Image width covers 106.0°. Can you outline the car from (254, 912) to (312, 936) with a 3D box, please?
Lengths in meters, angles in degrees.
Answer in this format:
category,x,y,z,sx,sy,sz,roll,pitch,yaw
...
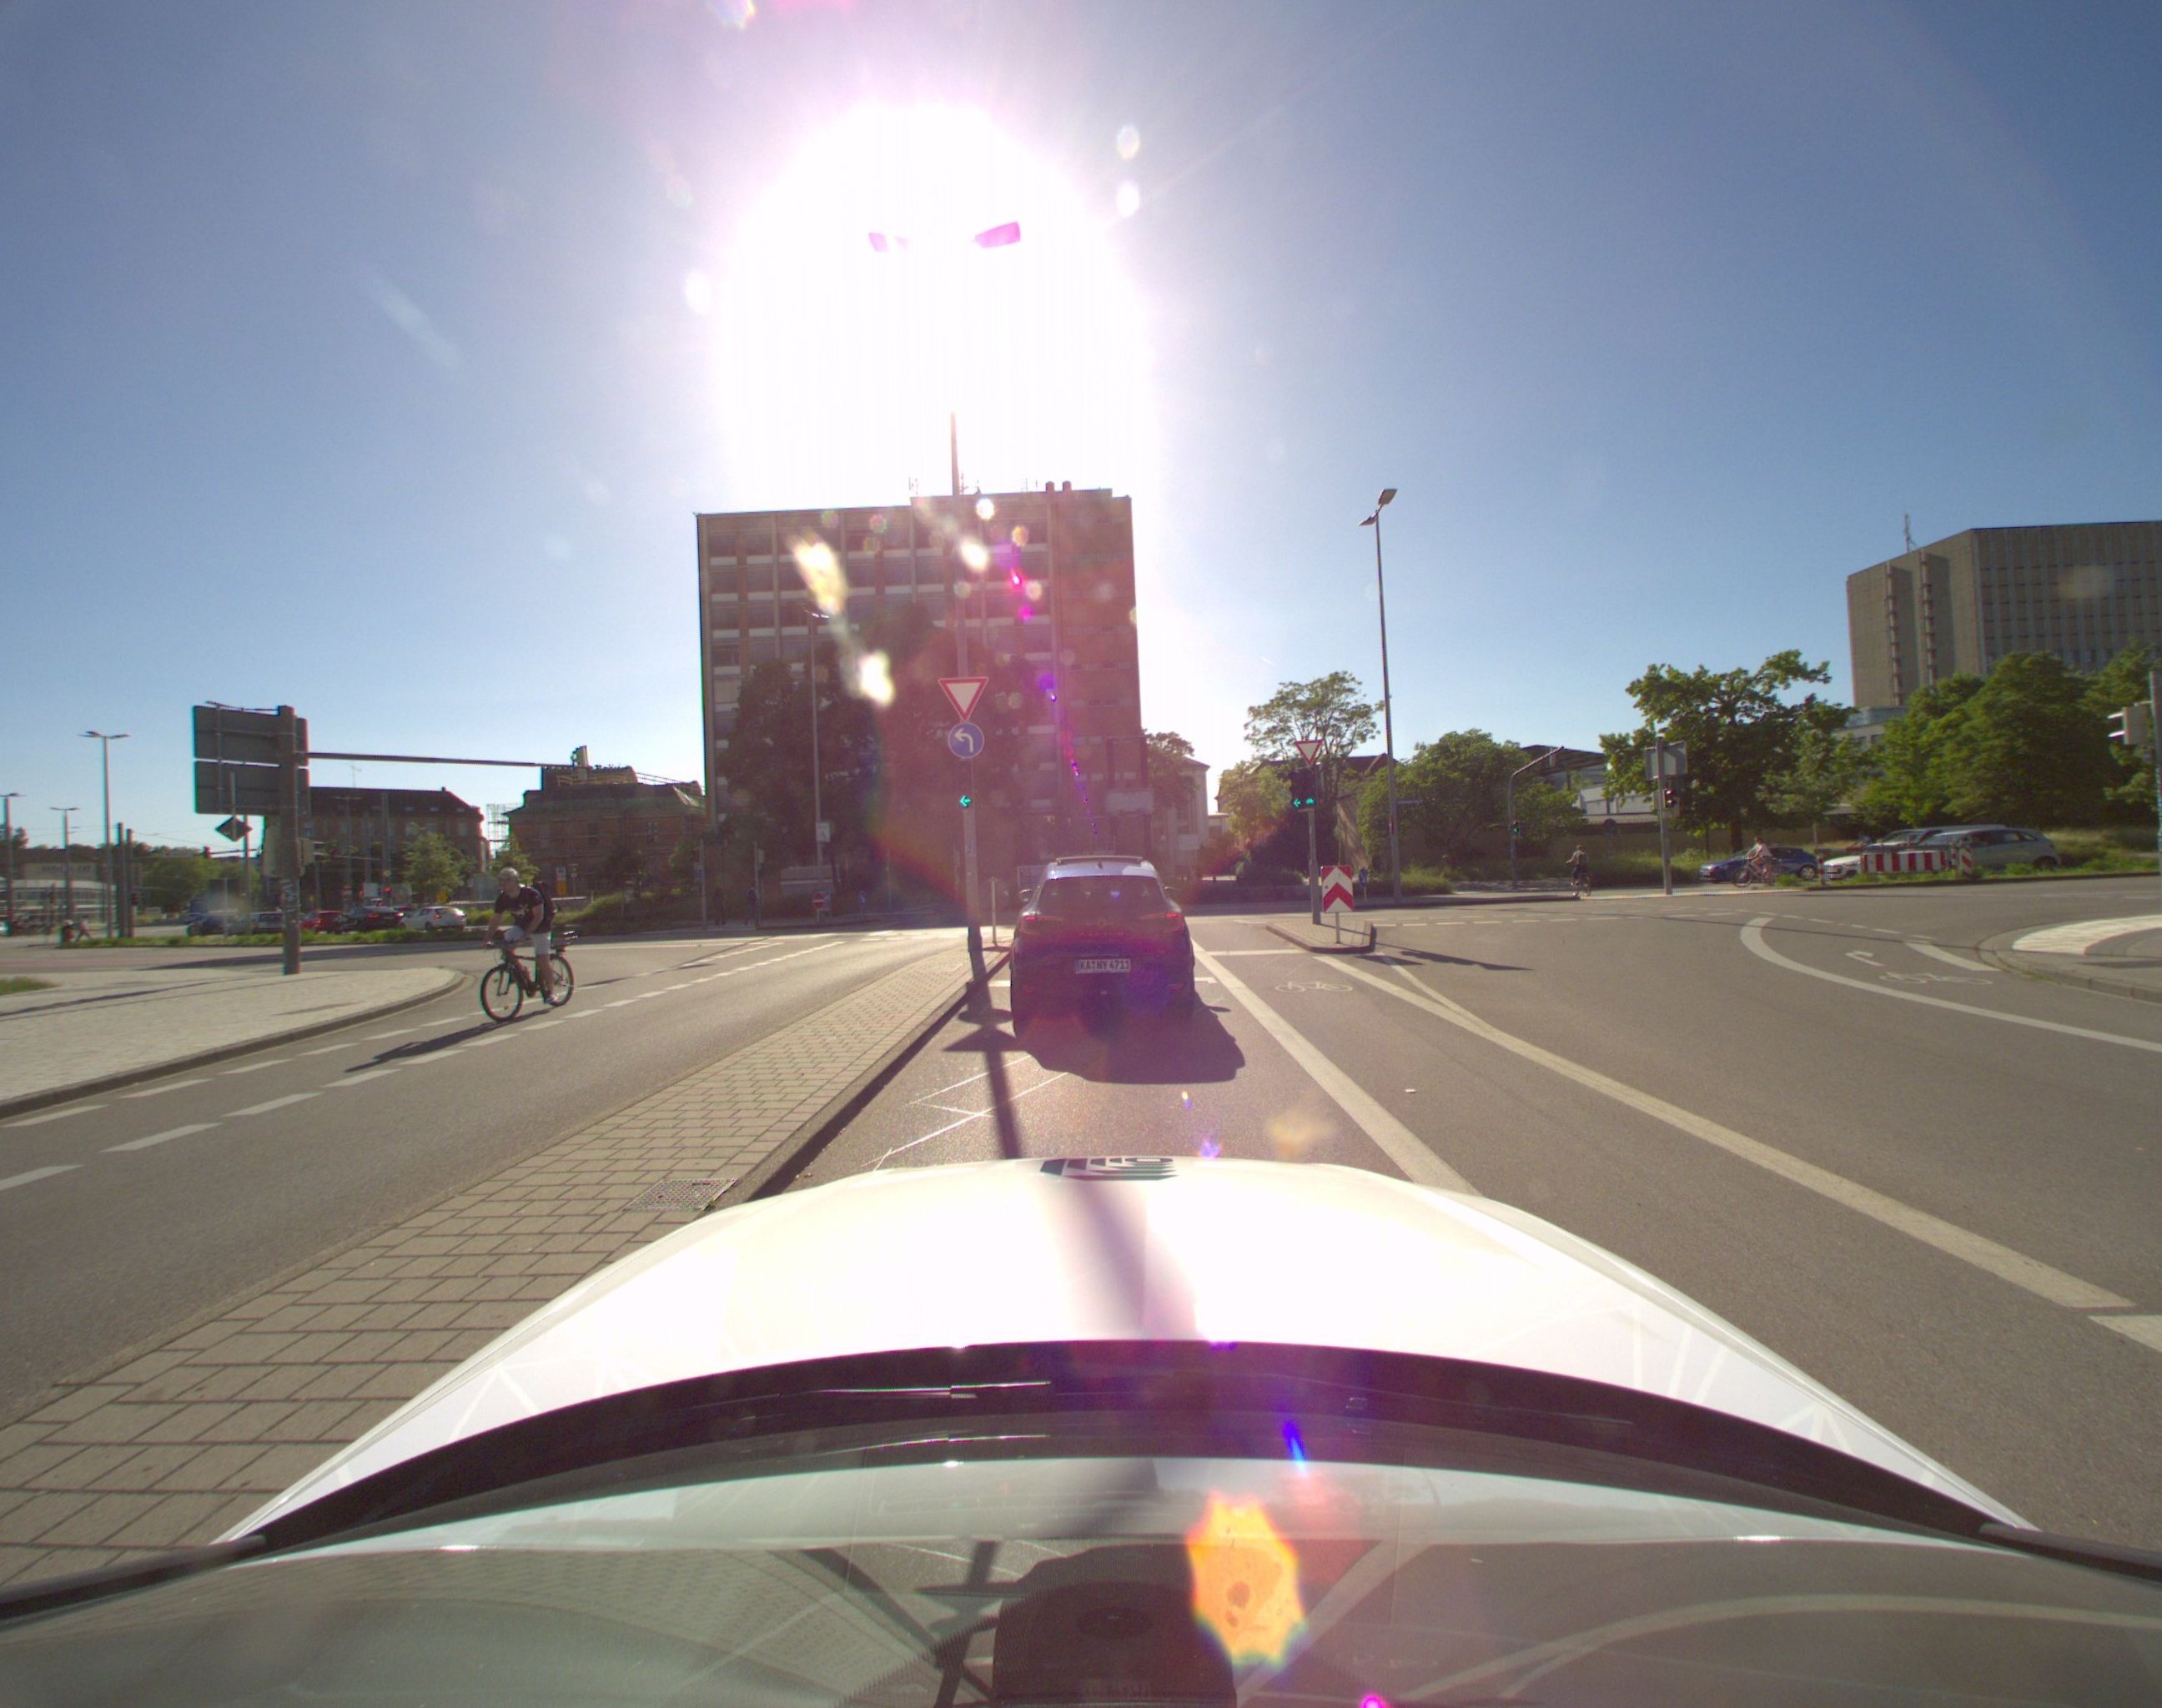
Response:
category,x,y,z,sx,sy,sz,roll,pitch,yaw
car,-53.579,4.704,54.671,3.750,1.443,1.741,-4,-4,29

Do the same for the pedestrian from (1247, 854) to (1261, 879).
category,x,y,z,sx,sy,sz,roll,pitch,yaw
pedestrian,11.648,0.852,54.868,0.669,1.643,0.740,-1,-2,40

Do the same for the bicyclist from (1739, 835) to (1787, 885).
category,x,y,z,sx,sy,sz,roll,pitch,yaw
bicyclist,24.022,0.209,28.701,0.970,1.685,0.747,-4,-1,3

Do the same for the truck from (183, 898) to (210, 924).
category,x,y,z,sx,sy,sz,roll,pitch,yaw
truck,-134.432,8.565,123.737,5.159,3.675,2.618,-1,-2,42

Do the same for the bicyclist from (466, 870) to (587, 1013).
category,x,y,z,sx,sy,sz,roll,pitch,yaw
bicyclist,-6.779,1.029,10.003,0.717,1.621,0.978,-4,-1,1

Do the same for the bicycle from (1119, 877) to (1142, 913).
category,x,y,z,sx,sy,sz,roll,pitch,yaw
bicycle,1.739,1.444,28.995,0.713,1.165,1.871,-2,-1,2

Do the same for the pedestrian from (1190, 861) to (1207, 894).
category,x,y,z,sx,sy,sz,roll,pitch,yaw
pedestrian,6.288,1.251,43.513,0.727,1.782,0.735,-1,-1,19

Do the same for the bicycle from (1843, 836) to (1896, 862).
category,x,y,z,sx,sy,sz,roll,pitch,yaw
bicycle,38.845,-0.258,40.117,1.944,1.165,0.643,-4,1,0

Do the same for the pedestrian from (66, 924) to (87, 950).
category,x,y,z,sx,sy,sz,roll,pitch,yaw
pedestrian,-62.893,5.202,50.991,0.565,1.611,0.573,0,-1,1

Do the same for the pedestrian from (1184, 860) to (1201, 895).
category,x,y,z,sx,sy,sz,roll,pitch,yaw
pedestrian,5.873,1.232,42.784,0.727,1.816,0.735,-1,-1,19

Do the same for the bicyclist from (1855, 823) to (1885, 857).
category,x,y,z,sx,sy,sz,roll,pitch,yaw
bicyclist,38.842,-0.693,40.107,0.827,1.595,0.631,-4,1,0

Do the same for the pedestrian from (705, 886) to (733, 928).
category,x,y,z,sx,sy,sz,roll,pitch,yaw
pedestrian,-14.707,2.146,33.053,0.711,1.612,0.685,-3,-2,19

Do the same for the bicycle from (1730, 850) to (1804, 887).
category,x,y,z,sx,sy,sz,roll,pitch,yaw
bicycle,24.137,0.501,28.691,1.856,1.165,0.749,-4,-1,3

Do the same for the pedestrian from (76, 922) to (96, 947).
category,x,y,z,sx,sy,sz,roll,pitch,yaw
pedestrian,-64.716,5.228,52.974,0.668,1.611,0.659,-1,-1,27

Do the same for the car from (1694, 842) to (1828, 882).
category,x,y,z,sx,sy,sz,roll,pitch,yaw
car,28.124,0.356,33.777,3.967,1.442,1.707,-2,-2,5

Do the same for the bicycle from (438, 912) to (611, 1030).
category,x,y,z,sx,sy,sz,roll,pitch,yaw
bicycle,-6.757,1.372,10.037,0.743,1.165,1.871,-4,-1,2

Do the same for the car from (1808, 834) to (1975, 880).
category,x,y,z,sx,sy,sz,roll,pitch,yaw
car,30.340,0.136,30.614,3.962,1.469,2.005,-3,-2,10

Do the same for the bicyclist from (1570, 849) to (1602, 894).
category,x,y,z,sx,sy,sz,roll,pitch,yaw
bicyclist,16.787,0.569,27.081,0.637,1.444,0.779,-3,0,12

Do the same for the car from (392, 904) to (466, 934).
category,x,y,z,sx,sy,sz,roll,pitch,yaw
car,-36.506,3.641,45.595,3.691,1.436,1.706,-3,-2,24

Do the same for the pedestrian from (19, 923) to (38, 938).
category,x,y,z,sx,sy,sz,roll,pitch,yaw
pedestrian,-101.889,7.384,78.860,0.689,1.408,0.865,0,-1,0

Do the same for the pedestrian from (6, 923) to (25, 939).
category,x,y,z,sx,sy,sz,roll,pitch,yaw
pedestrian,-101.893,7.355,77.883,0.689,1.408,0.865,0,-1,0

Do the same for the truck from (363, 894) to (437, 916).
category,x,y,z,sx,sy,sz,roll,pitch,yaw
truck,-85.963,6.379,102.957,2.195,2.313,6.918,-3,-2,20

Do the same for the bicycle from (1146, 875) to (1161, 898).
category,x,y,z,sx,sy,sz,roll,pitch,yaw
bicycle,3.916,1.722,44.045,0.742,1.165,1.872,-3,-1,5

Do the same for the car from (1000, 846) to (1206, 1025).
category,x,y,z,sx,sy,sz,roll,pitch,yaw
car,0.258,0.768,9.290,1.870,1.617,3.799,0,-1,2

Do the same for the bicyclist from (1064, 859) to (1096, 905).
category,x,y,z,sx,sy,sz,roll,pitch,yaw
bicyclist,-0.054,1.122,32.333,0.726,1.763,0.966,-1,-2,-43

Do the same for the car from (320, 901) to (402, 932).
category,x,y,z,sx,sy,sz,roll,pitch,yaw
car,-42.729,3.726,48.321,4.324,1.624,2.002,-3,-2,24

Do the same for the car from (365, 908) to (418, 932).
category,x,y,z,sx,sy,sz,roll,pitch,yaw
car,-50.373,4.802,59.486,3.578,1.618,1.894,-4,-3,31

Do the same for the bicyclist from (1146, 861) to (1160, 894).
category,x,y,z,sx,sy,sz,roll,pitch,yaw
bicyclist,3.893,1.244,44.043,0.716,1.735,0.979,-3,-1,5

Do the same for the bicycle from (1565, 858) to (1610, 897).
category,x,y,z,sx,sy,sz,roll,pitch,yaw
bicycle,16.786,0.751,27.029,0.636,1.165,1.877,-3,0,12

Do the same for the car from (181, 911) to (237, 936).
category,x,y,z,sx,sy,sz,roll,pitch,yaw
car,-54.991,4.385,51.328,3.859,1.443,1.741,-4,-4,33

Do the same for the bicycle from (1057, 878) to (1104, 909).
category,x,y,z,sx,sy,sz,roll,pitch,yaw
bicycle,-0.041,1.582,32.332,0.752,1.165,1.847,-1,-1,-43

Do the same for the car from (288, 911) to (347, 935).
category,x,y,z,sx,sy,sz,roll,pitch,yaw
car,-48.146,4.351,51.363,3.674,1.443,1.687,-4,-4,29

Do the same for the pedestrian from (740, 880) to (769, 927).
category,x,y,z,sx,sy,sz,roll,pitch,yaw
pedestrian,-13.198,1.986,32.924,0.753,1.833,1.093,-2,-2,-6

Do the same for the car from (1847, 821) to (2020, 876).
category,x,y,z,sx,sy,sz,roll,pitch,yaw
car,34.837,-0.180,33.413,4.718,1.953,1.942,-2,-3,5

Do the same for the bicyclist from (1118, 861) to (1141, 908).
category,x,y,z,sx,sy,sz,roll,pitch,yaw
bicyclist,1.722,1.079,29.089,0.717,1.617,0.978,-2,-1,1

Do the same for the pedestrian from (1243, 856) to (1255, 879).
category,x,y,z,sx,sy,sz,roll,pitch,yaw
pedestrian,11.895,0.967,57.683,0.670,1.643,0.739,-1,-1,19

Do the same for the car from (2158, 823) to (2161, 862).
category,x,y,z,sx,sy,sz,roll,pitch,yaw
car,36.871,-0.355,24.945,4.685,1.554,1.986,-2,-2,5

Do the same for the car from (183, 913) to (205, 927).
category,x,y,z,sx,sy,sz,roll,pitch,yaw
car,-112.935,8.442,103.679,3.594,1.544,1.797,-1,-1,44

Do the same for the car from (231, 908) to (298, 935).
category,x,y,z,sx,sy,sz,roll,pitch,yaw
car,-48.808,4.030,48.665,3.750,1.442,1.741,-3,-1,28

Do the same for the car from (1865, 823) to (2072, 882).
category,x,y,z,sx,sy,sz,roll,pitch,yaw
car,28.031,0.003,25.856,4.281,1.625,1.792,-2,-2,5
